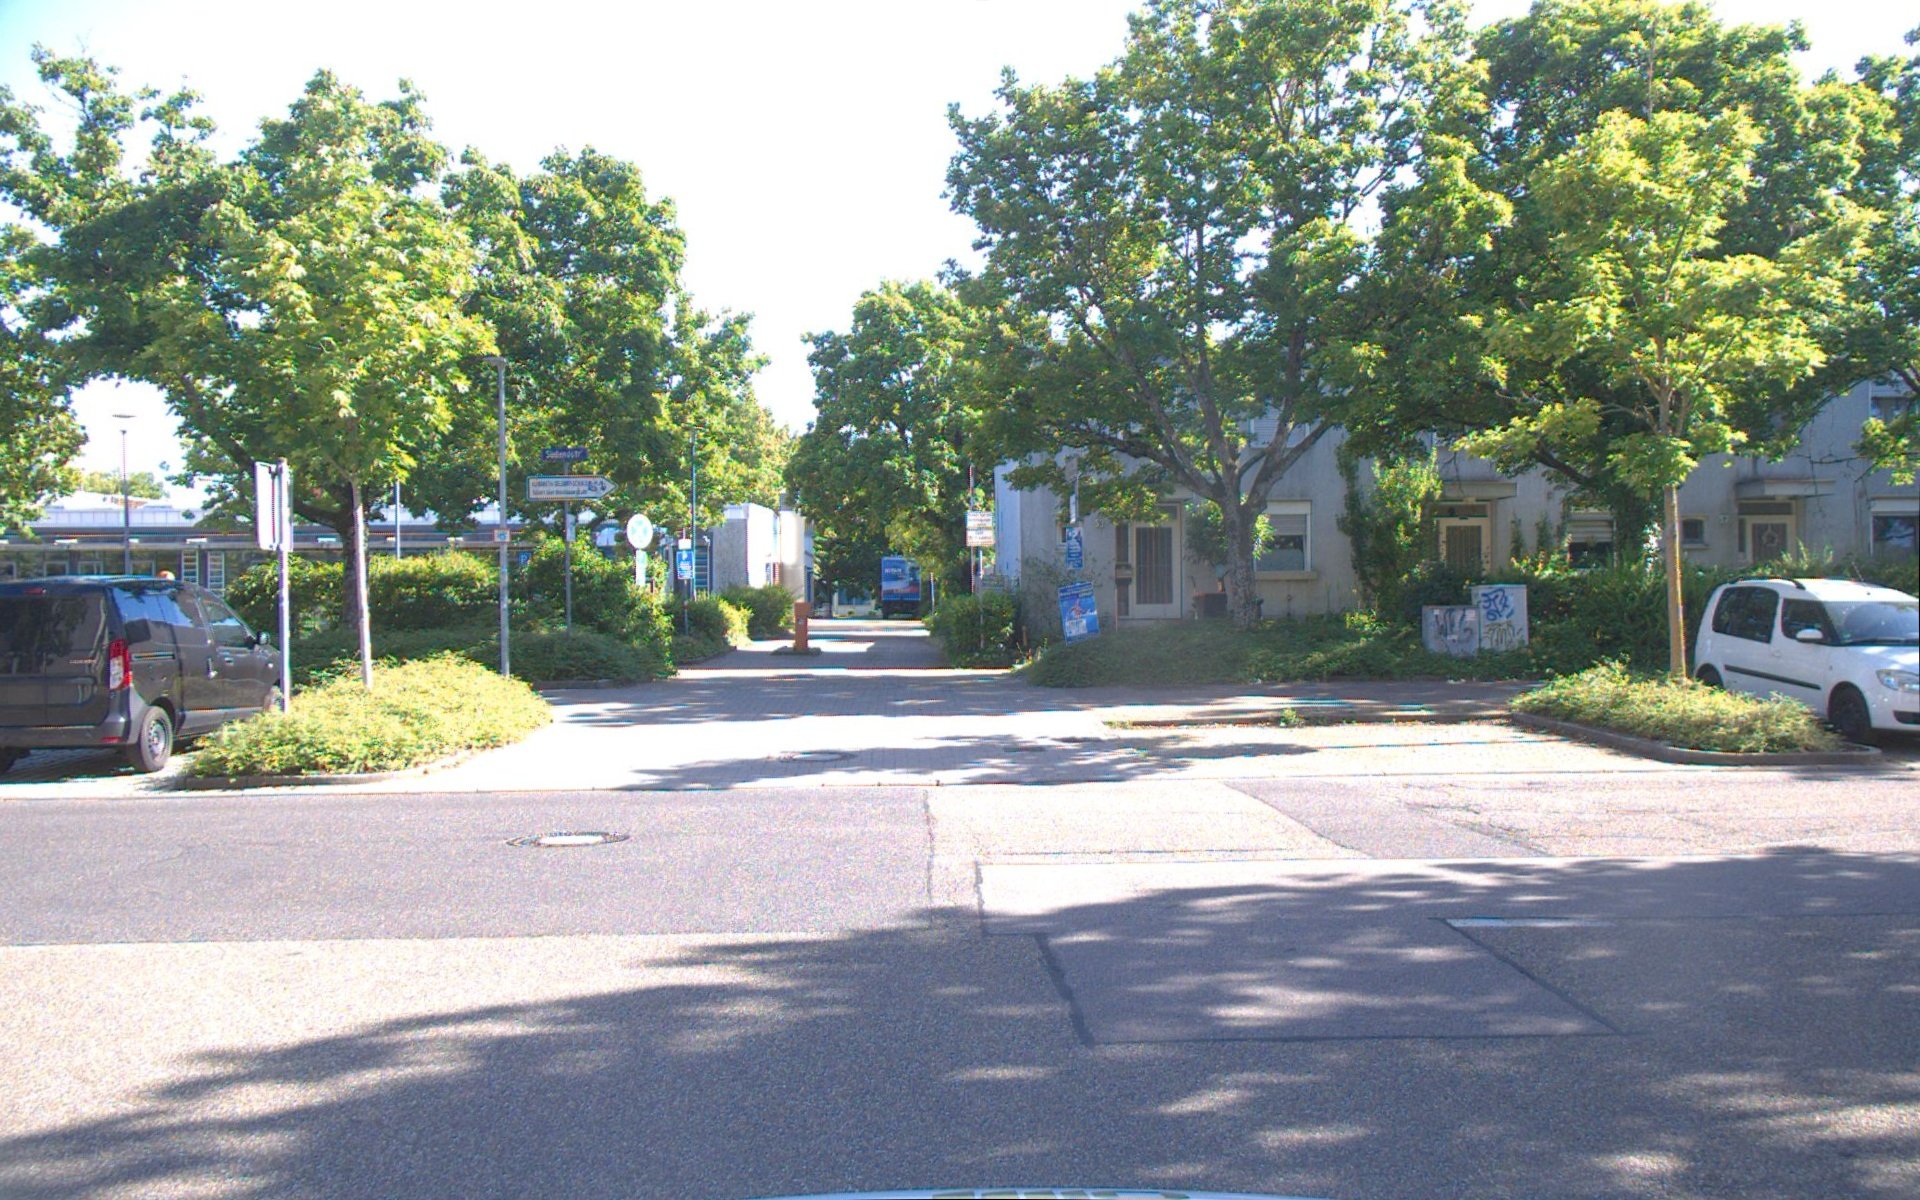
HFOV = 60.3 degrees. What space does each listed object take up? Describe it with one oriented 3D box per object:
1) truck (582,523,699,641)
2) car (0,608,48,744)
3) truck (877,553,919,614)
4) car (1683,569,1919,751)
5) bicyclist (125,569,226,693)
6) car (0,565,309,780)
[{"bbox_3d":[-11.035,-0.606,57.820,2.745,3.873,6.924,0,0,0],"label":"truck"},{"bbox_3d":[-11.155,0.875,16.685,1.787,1.430,4.166,-1,2,-4],"label":"car"},{"bbox_3d":[-4.123,-1.073,111.689,2.704,3.937,9.326,0,0,-2],"label":"truck"},{"bbox_3d":[9.483,0.512,17.330,1.787,1.625,4.166,-1,1,-4],"label":"car"},{"bbox_3d":[-10.010,0.387,21.128,0.991,1.550,0.596,0,0,-1],"label":"bicyclist"},{"bbox_3d":[-8.320,0.605,16.803,1.836,1.878,4.167,-1,1,-2],"label":"car"}]
